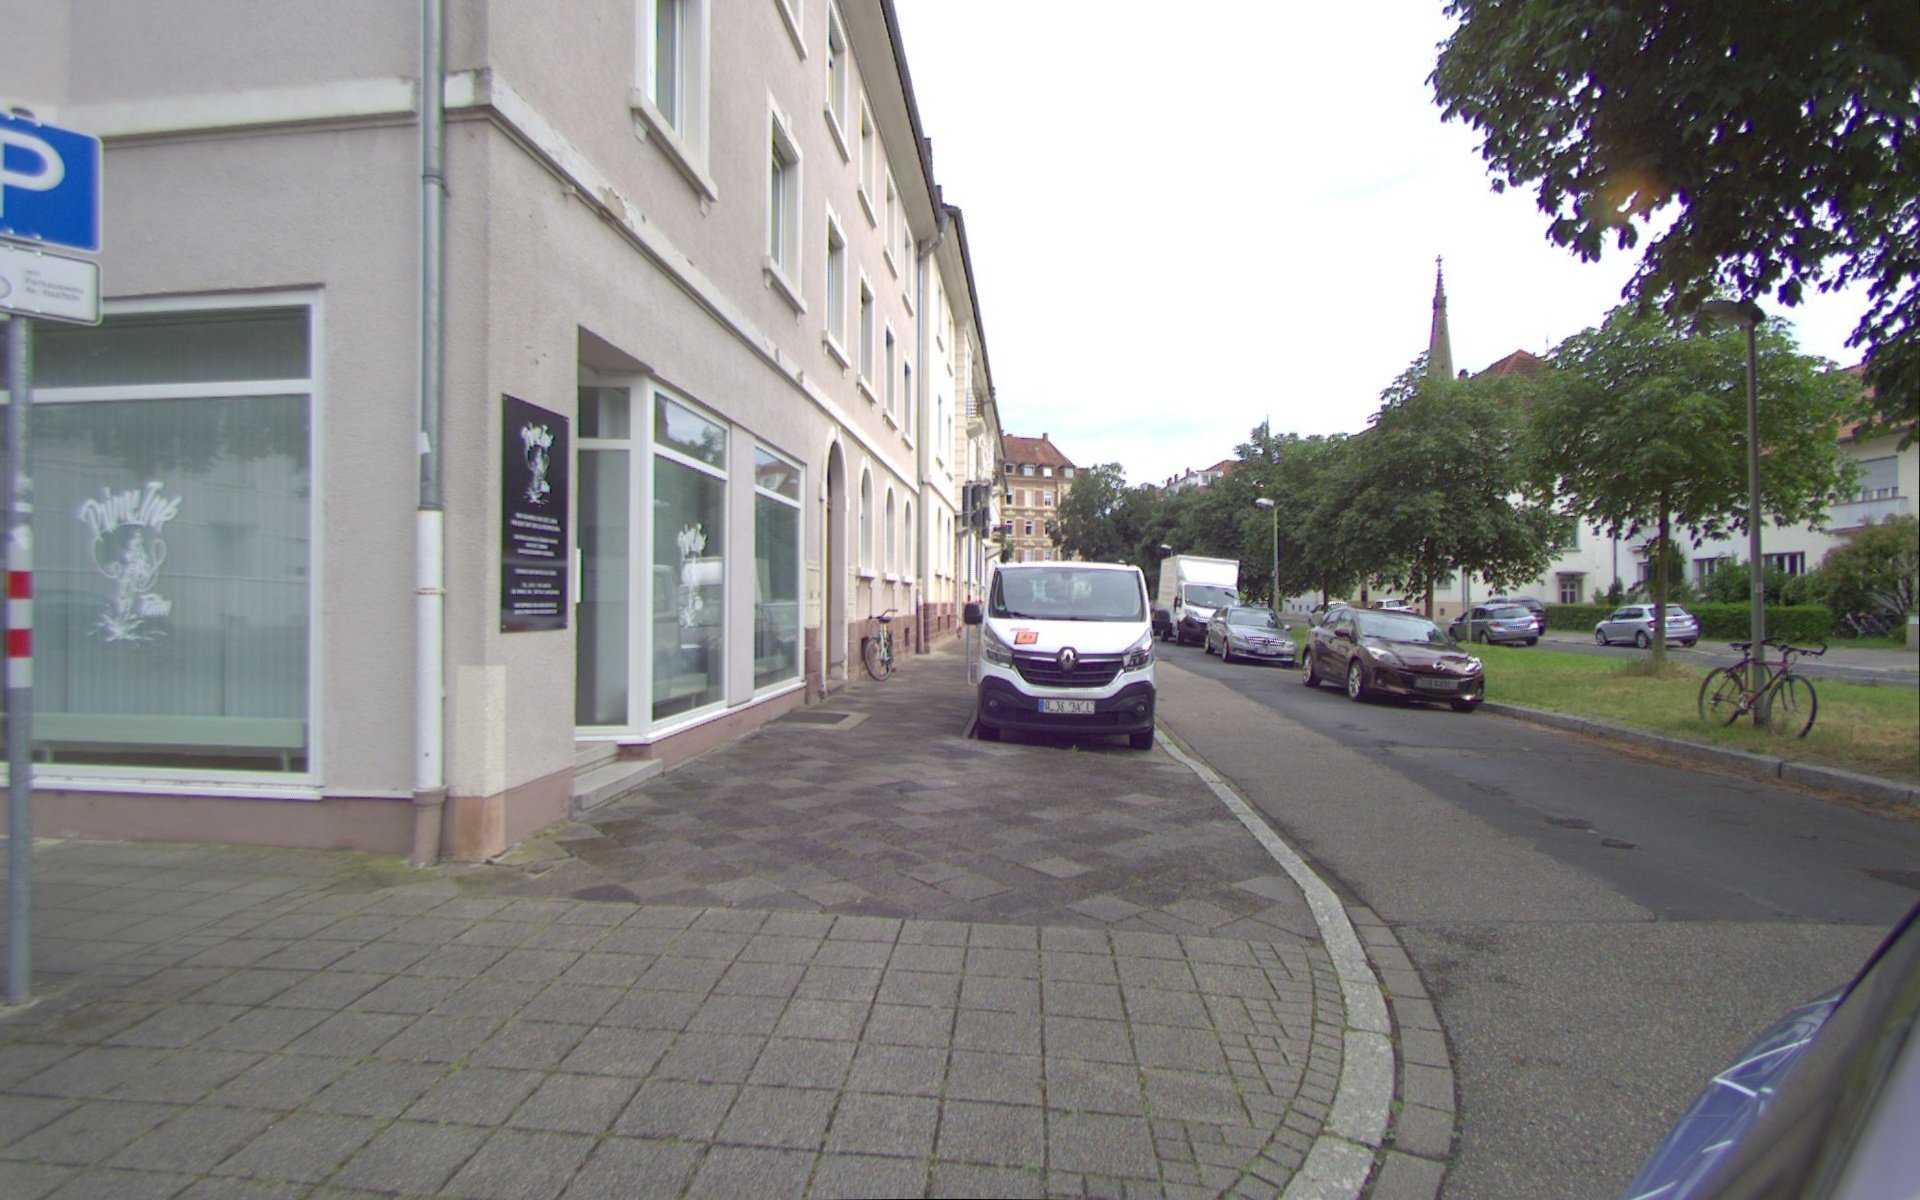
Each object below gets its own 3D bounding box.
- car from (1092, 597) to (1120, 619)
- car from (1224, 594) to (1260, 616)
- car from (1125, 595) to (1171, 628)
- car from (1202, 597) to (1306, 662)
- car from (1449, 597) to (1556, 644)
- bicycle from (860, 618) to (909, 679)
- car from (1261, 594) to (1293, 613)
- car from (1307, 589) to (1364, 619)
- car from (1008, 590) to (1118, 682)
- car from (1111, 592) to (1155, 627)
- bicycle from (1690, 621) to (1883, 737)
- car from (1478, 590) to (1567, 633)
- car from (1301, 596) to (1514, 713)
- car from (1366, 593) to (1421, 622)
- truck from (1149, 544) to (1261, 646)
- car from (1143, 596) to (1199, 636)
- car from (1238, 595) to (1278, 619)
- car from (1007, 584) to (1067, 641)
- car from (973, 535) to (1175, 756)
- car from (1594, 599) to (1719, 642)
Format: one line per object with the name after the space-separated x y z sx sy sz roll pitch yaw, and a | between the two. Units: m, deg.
10.820 0.555 75.249 1.614 1.599 4.206 0 0 2 | car
22.340 0.393 80.227 1.936 1.660 4.001 -1 0 4 | car
9.105 0.549 49.195 1.614 1.533 4.149 0 0 2 | car
7.691 0.723 26.886 1.686 1.476 4.442 4 0 4 | car
18.884 0.665 35.432 1.773 1.507 4.001 -1 0 4 | car
-1.238 0.782 17.019 0.441 0.904 2.167 1 0 6 | bicycle
29.612 0.294 94.562 1.936 1.660 4.001 -1 0 4 | car
20.023 0.210 54.166 1.773 1.507 4.001 -1 0 4 | car
1.797 0.598 18.756 1.662 1.472 3.900 2 0 1 | car
9.555 0.498 56.073 1.753 1.729 4.312 3 0 2 | car
8.704 0.783 10.772 0.656 1.080 1.882 0 0 6 | bicycle
25.029 0.497 45.187 1.773 1.695 4.096 -4 0 4 | car
6.873 0.749 16.066 1.686 1.476 4.157 4 0 4 | car
25.950 0.446 60.713 1.773 1.627 4.001 -1 0 4 | car
8.289 -0.147 35.013 2.403 2.994 7.103 5 0 4 | truck
8.978 0.670 43.323 1.614 1.533 4.149 3 0 2 | car
21.653 0.514 73.580 1.936 1.660 4.001 -1 0 4 | car
2.669 0.396 35.181 1.909 1.808 4.181 2 0 4 | car
1.245 0.424 11.992 1.851 2.021 5.006 1 0 4 | car
23.970 0.668 35.033 1.773 1.372 3.937 -1 0 4 | car
